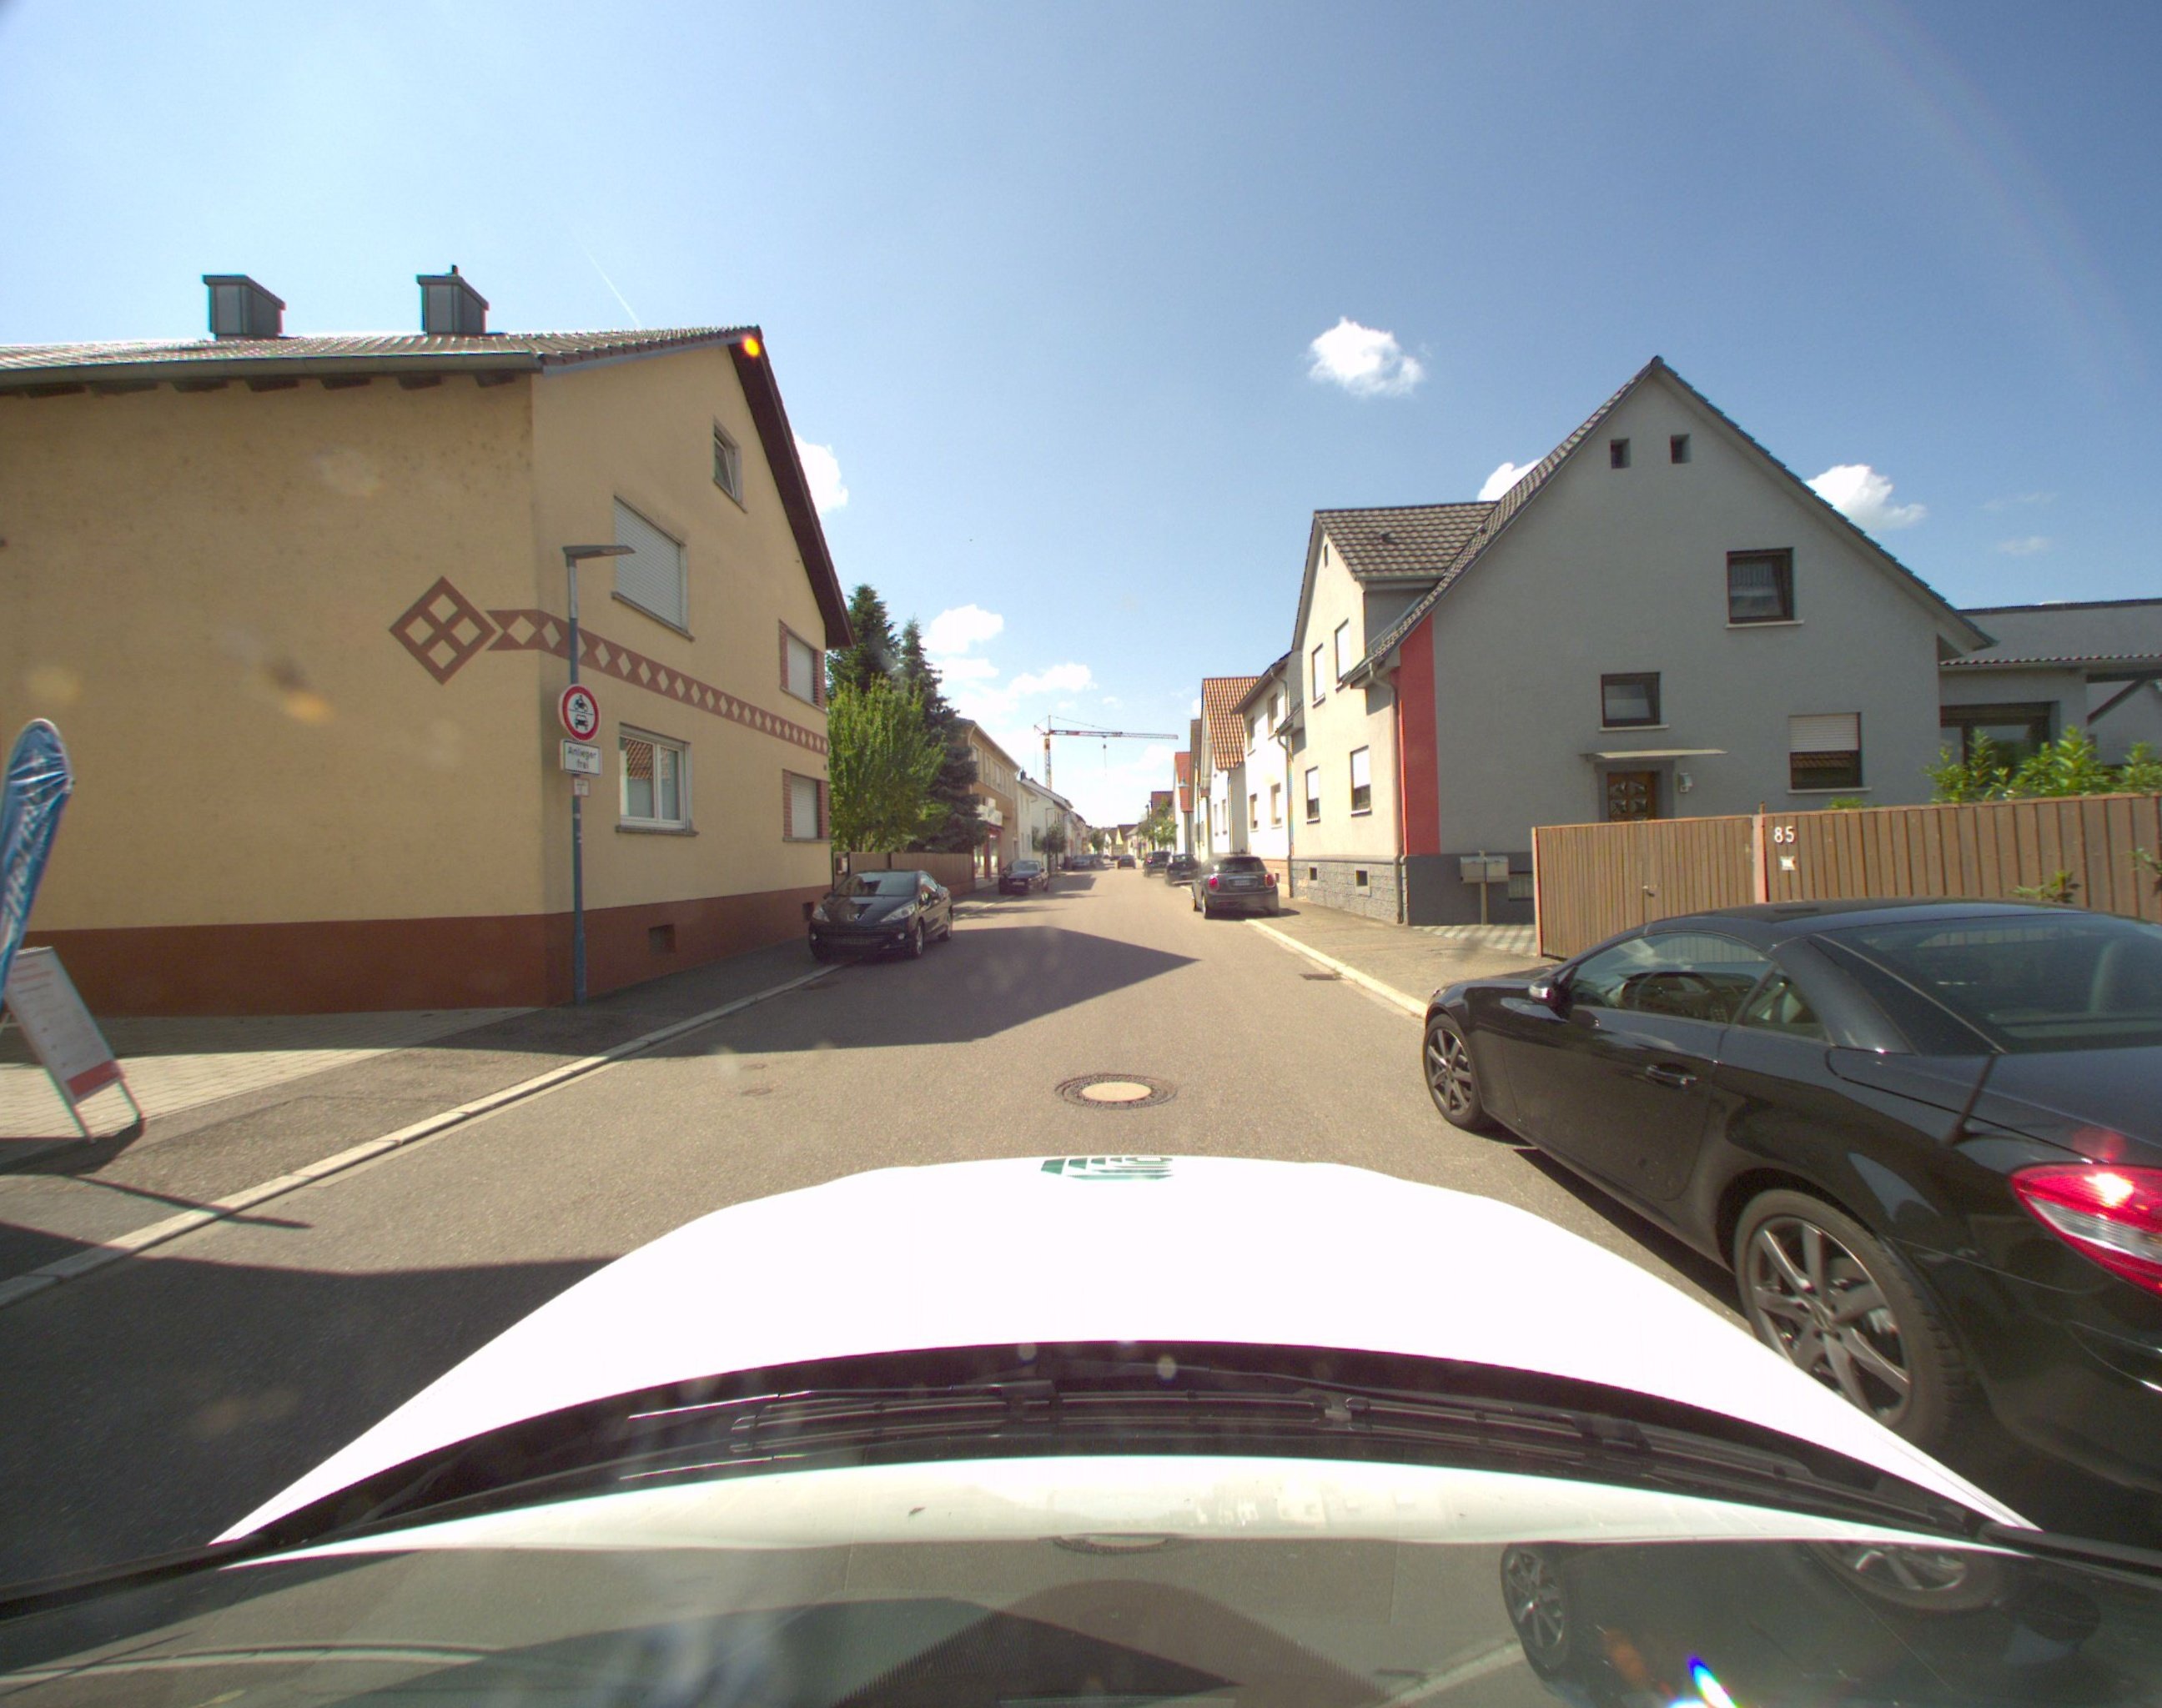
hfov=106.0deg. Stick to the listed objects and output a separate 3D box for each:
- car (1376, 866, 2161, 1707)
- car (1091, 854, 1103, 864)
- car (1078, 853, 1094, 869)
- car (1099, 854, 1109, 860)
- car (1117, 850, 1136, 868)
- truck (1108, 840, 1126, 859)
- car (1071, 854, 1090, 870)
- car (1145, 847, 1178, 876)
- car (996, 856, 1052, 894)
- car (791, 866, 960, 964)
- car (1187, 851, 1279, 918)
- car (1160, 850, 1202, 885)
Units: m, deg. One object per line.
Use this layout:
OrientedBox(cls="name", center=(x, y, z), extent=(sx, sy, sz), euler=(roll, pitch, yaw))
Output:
OrientedBox(cls="car", center=(2.794, 0.746, 3.386), extent=(1.808, 1.276, 4.150), euler=(-2, 0, 3))
OrientedBox(cls="car", center=(2.629, 0.749, 130.413), extent=(1.716, 1.555, 4.175), euler=(-1, 0, 3))
OrientedBox(cls="car", center=(0.564, 0.747, 91.014), extent=(1.647, 1.609, 4.063), euler=(-2, 0, 2))
OrientedBox(cls="car", center=(6.916, 0.814, 246.789), extent=(1.823, 1.753, 4.209), euler=(-3, 0, -13))
OrientedBox(cls="car", center=(4.615, 0.505, 83.097), extent=(1.776, 1.753, 4.001), euler=(-3, 0, 2))
OrientedBox(cls="truck", center=(7.875, -0.839, 178.865), extent=(3.367, 3.865, 13.929), euler=(-3, 0, 1))
OrientedBox(cls="car", center=(-0.042, 0.796, 84.297), extent=(1.752, 1.525, 4.291), euler=(-2, 0, 2))
OrientedBox(cls="car", center=(5.109, 0.487, 52.090), extent=(1.723, 1.717, 4.276), euler=(-2, 0, 0))
OrientedBox(cls="car", center=(-2.372, 0.865, 35.071), extent=(1.760, 1.460, 4.441), euler=(-2, 0, 4))
OrientedBox(cls="car", center=(-3.369, 0.939, 14.196), extent=(1.754, 1.374, 4.068), euler=(-1, 0, 2))
OrientedBox(cls="car", center=(3.622, 0.680, 19.934), extent=(1.681, 1.422, 3.659), euler=(-2, 0, 2))
OrientedBox(cls="car", center=(4.826, 0.626, 39.565), extent=(1.611, 1.495, 3.974), euler=(-5, 0, 2))
